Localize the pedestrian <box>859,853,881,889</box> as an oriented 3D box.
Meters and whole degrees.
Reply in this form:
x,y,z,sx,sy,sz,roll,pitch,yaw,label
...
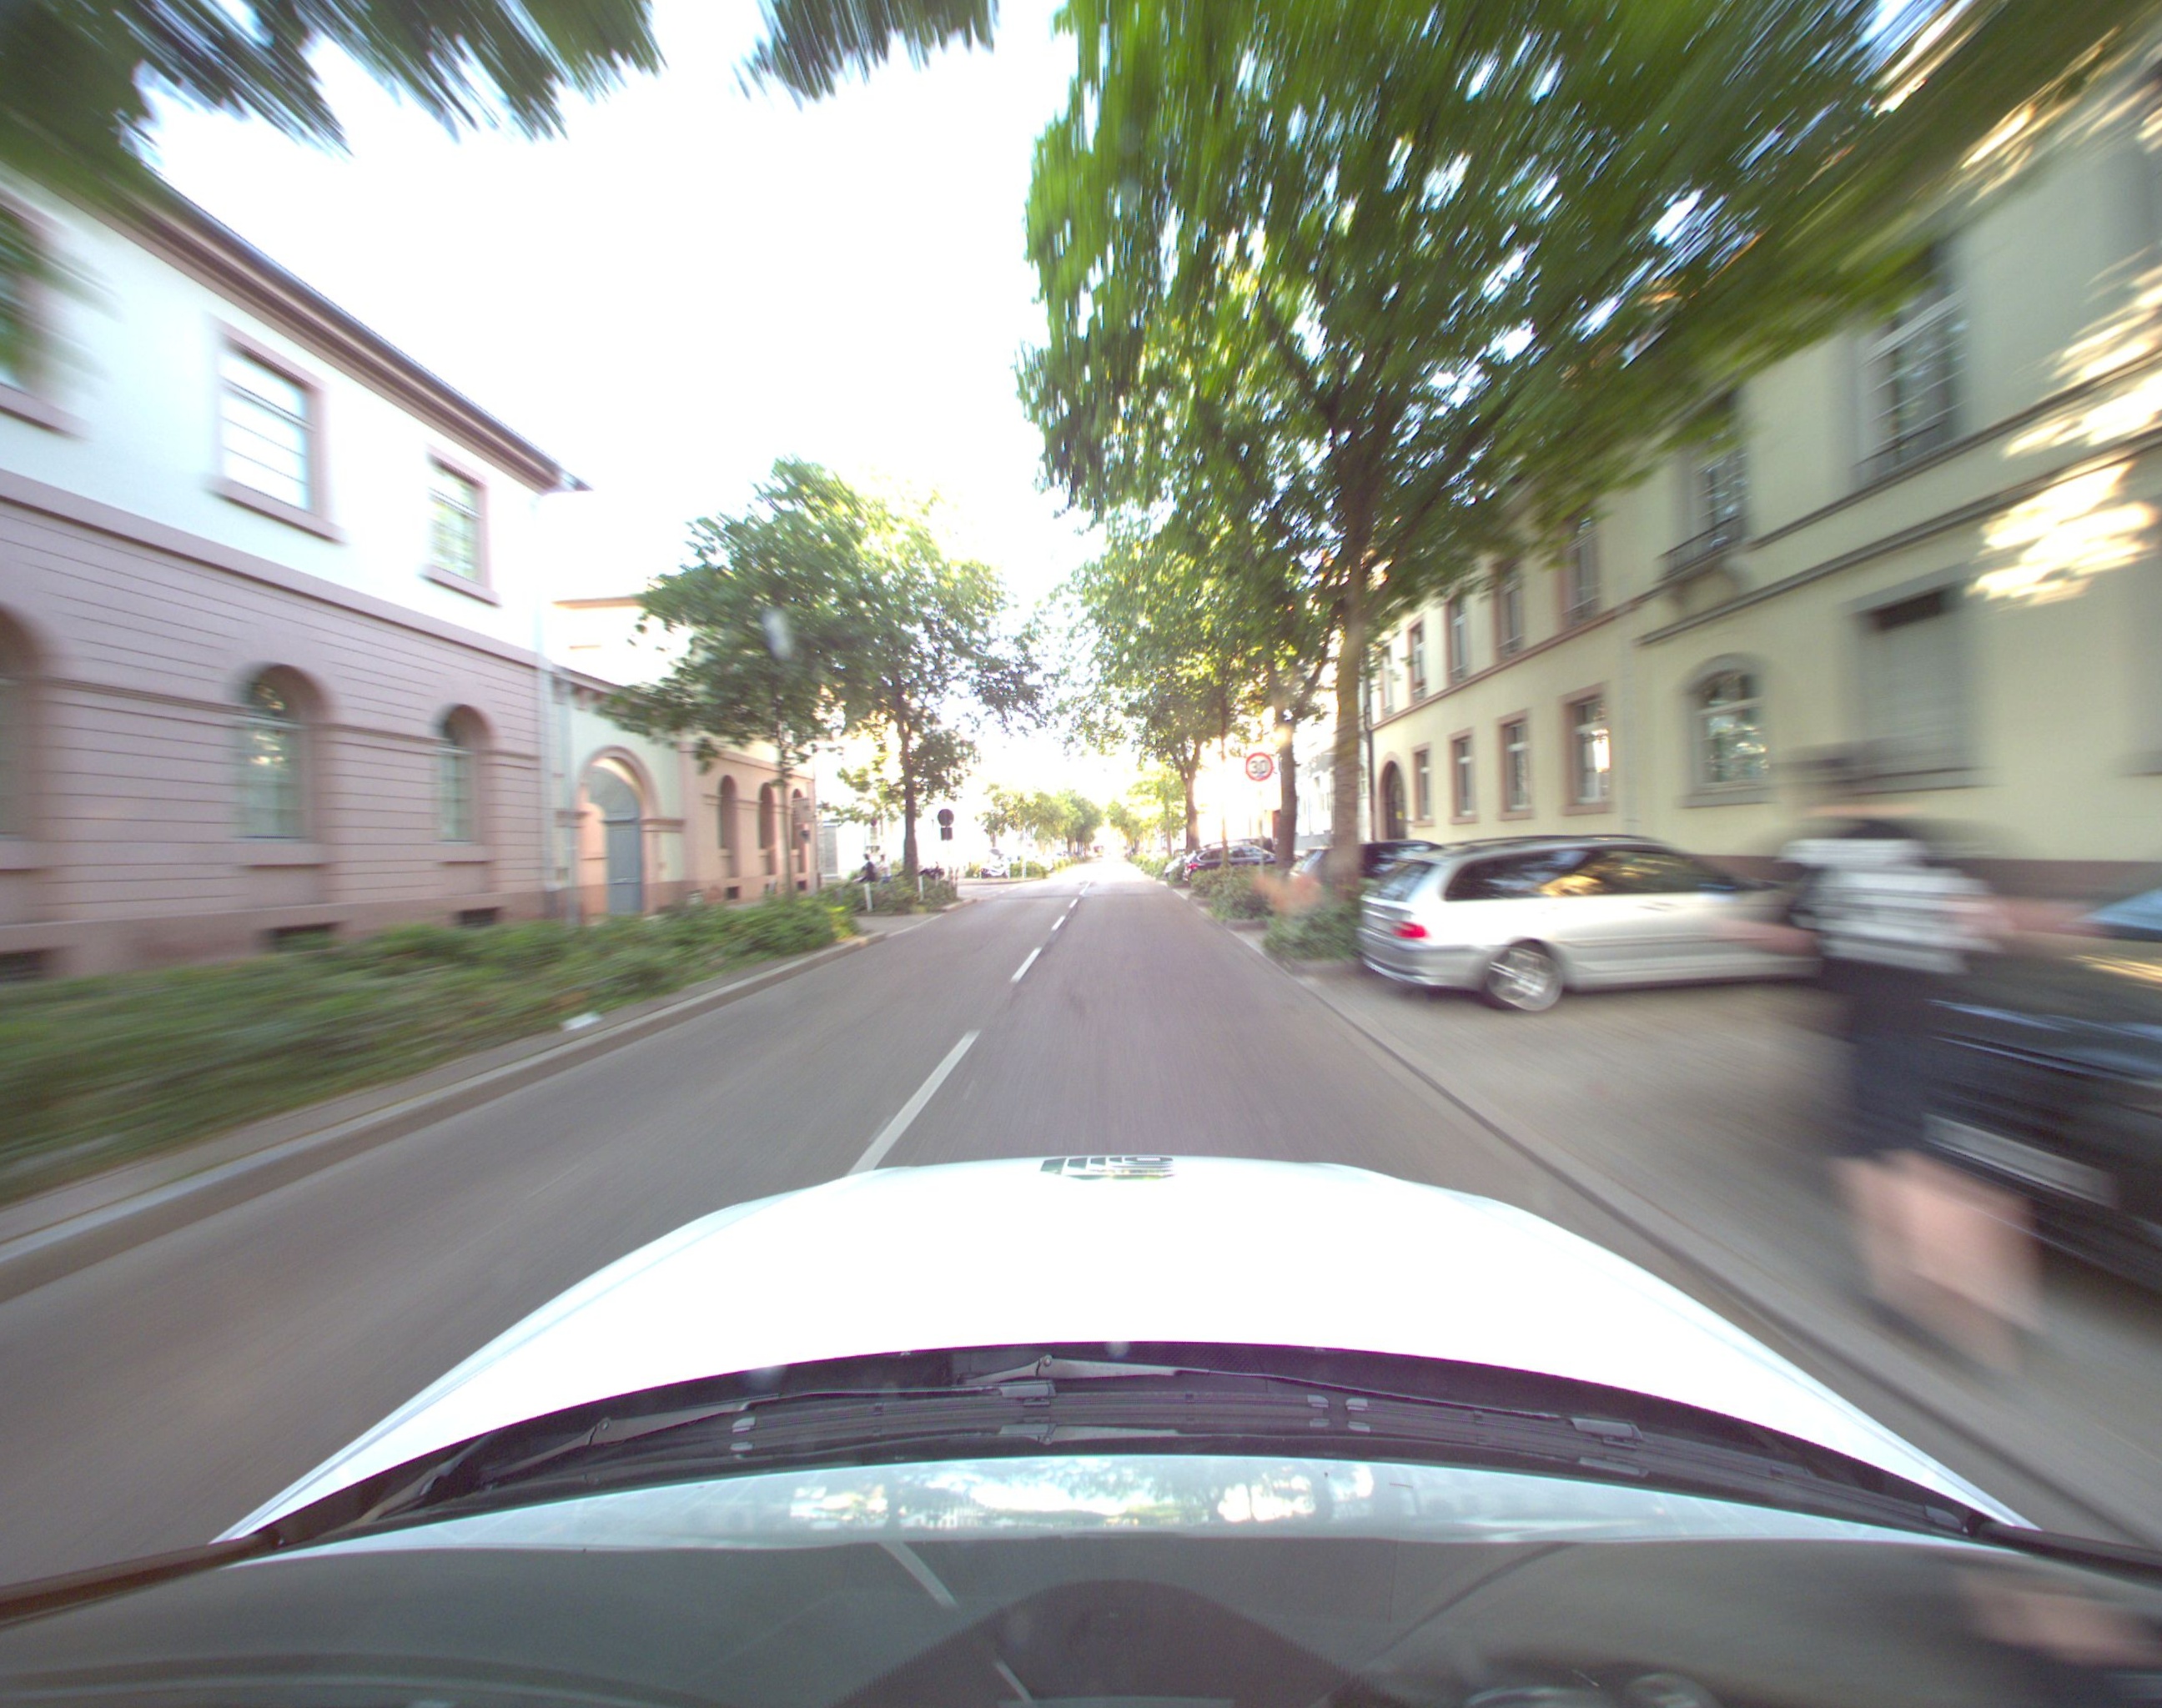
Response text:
x,y,z,sx,sy,sz,roll,pitch,yaw,label
-8.236,0.649,31.823,0.652,1.395,0.608,-2,0,2,pedestrian

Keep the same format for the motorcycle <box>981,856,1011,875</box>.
x,y,z,sx,sy,sz,roll,pitch,yaw,label
-4.935,0.667,47.354,1.630,1.068,0.656,-2,1,2,motorcycle

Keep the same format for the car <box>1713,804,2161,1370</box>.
x,y,z,sx,sy,sz,roll,pitch,yaw,label
4.890,0.492,2.670,4.093,1.491,1.850,-4,-2,1,car

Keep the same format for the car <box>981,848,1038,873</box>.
x,y,z,sx,sy,sz,roll,pitch,yaw,label
-4.932,0.435,56.556,3.715,1.508,1.872,-3,1,-2,car

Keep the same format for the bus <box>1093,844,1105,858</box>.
x,y,z,sx,sy,sz,roll,pitch,yaw,label
4.662,-0.860,208.937,3.017,3.190,9.407,-3,1,2,bus

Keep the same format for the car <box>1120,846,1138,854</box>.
x,y,z,sx,sy,sz,roll,pitch,yaw,label
11.522,-0.978,194.000,3.963,1.837,2.006,-3,1,9,car

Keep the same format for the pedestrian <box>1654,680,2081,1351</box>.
x,y,z,sx,sy,sz,roll,pitch,yaw,label
2.539,0.453,2.764,0.742,1.868,0.801,-2,1,21,pedestrian

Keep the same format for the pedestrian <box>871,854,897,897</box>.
x,y,z,sx,sy,sz,roll,pitch,yaw,label
-7.951,0.851,32.881,0.714,1.664,0.839,-3,1,4,pedestrian

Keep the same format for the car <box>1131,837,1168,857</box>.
x,y,z,sx,sy,sz,roll,pitch,yaw,label
7.640,-0.773,90.961,3.968,2.013,2.003,-2,1,5,car

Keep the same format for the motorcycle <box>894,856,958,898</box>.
x,y,z,sx,sy,sz,roll,pitch,yaw,label
-5.089,0.734,26.730,1.912,1.258,0.591,-3,1,2,motorcycle

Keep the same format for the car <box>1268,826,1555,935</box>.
x,y,z,sx,sy,sz,roll,pitch,yaw,label
5.323,0.403,13.509,4.000,1.480,1.781,-3,1,1,car

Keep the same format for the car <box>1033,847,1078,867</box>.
x,y,z,sx,sy,sz,roll,pitch,yaw,label
-3.069,0.343,98.264,5.043,2.083,2.265,-3,1,3,car

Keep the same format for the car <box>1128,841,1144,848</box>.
x,y,z,sx,sy,sz,roll,pitch,yaw,label
14.739,-2.517,216.446,3.961,1.771,2.006,-2,1,11,car

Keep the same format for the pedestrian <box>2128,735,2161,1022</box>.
x,y,z,sx,sy,sz,roll,pitch,yaw,label
6.860,0.137,4.568,0.939,1.706,0.783,-3,2,4,pedestrian

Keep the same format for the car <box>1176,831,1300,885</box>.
x,y,z,sx,sy,sz,roll,pitch,yaw,label
5.498,0.123,28.793,4.000,1.623,1.781,-3,1,1,car

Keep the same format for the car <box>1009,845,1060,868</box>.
x,y,z,sx,sy,sz,roll,pitch,yaw,label
-4.894,0.231,86.220,5.042,2.083,2.266,-3,1,3,car

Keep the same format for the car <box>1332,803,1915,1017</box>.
x,y,z,sx,sy,sz,roll,pitch,yaw,label
4.763,0.454,7.673,4.176,1.480,1.853,-4,1,2,car

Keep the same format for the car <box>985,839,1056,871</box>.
x,y,z,sx,sy,sz,roll,pitch,yaw,label
-4.549,0.072,61.940,5.045,2.083,2.264,-3,1,1,car

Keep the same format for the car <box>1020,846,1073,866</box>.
x,y,z,sx,sy,sz,roll,pitch,yaw,label
-3.434,0.201,81.997,5.039,1.617,2.267,-3,1,5,car

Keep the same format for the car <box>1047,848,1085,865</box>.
x,y,z,sx,sy,sz,roll,pitch,yaw,label
-2.031,0.315,114.253,5.043,2.083,2.265,-3,1,3,car

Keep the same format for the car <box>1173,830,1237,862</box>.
x,y,z,sx,sy,sz,roll,pitch,yaw,label
7.242,-0.486,47.792,3.598,1.626,1.588,-3,1,5,car

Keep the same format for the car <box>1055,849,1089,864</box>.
x,y,z,sx,sy,sz,roll,pitch,yaw,label
-1.417,0.388,129.843,5.043,2.083,2.265,-3,1,3,car

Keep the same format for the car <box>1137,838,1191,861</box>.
x,y,z,sx,sy,sz,roll,pitch,yaw,label
7.294,-0.378,71.757,4.574,1.761,2.224,-3,1,3,car

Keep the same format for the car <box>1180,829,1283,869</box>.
x,y,z,sx,sy,sz,roll,pitch,yaw,label
6.306,-0.217,34.382,4.000,1.418,1.781,-4,1,1,car

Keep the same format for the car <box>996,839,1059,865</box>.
x,y,z,sx,sy,sz,roll,pitch,yaw,label
-4.538,-0.205,69.996,5.042,1.823,2.266,-3,3,3,car

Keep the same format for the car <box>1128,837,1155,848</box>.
x,y,z,sx,sy,sz,roll,pitch,yaw,label
9.420,-1.736,126.444,3.974,1.442,1.697,-3,1,0,car
